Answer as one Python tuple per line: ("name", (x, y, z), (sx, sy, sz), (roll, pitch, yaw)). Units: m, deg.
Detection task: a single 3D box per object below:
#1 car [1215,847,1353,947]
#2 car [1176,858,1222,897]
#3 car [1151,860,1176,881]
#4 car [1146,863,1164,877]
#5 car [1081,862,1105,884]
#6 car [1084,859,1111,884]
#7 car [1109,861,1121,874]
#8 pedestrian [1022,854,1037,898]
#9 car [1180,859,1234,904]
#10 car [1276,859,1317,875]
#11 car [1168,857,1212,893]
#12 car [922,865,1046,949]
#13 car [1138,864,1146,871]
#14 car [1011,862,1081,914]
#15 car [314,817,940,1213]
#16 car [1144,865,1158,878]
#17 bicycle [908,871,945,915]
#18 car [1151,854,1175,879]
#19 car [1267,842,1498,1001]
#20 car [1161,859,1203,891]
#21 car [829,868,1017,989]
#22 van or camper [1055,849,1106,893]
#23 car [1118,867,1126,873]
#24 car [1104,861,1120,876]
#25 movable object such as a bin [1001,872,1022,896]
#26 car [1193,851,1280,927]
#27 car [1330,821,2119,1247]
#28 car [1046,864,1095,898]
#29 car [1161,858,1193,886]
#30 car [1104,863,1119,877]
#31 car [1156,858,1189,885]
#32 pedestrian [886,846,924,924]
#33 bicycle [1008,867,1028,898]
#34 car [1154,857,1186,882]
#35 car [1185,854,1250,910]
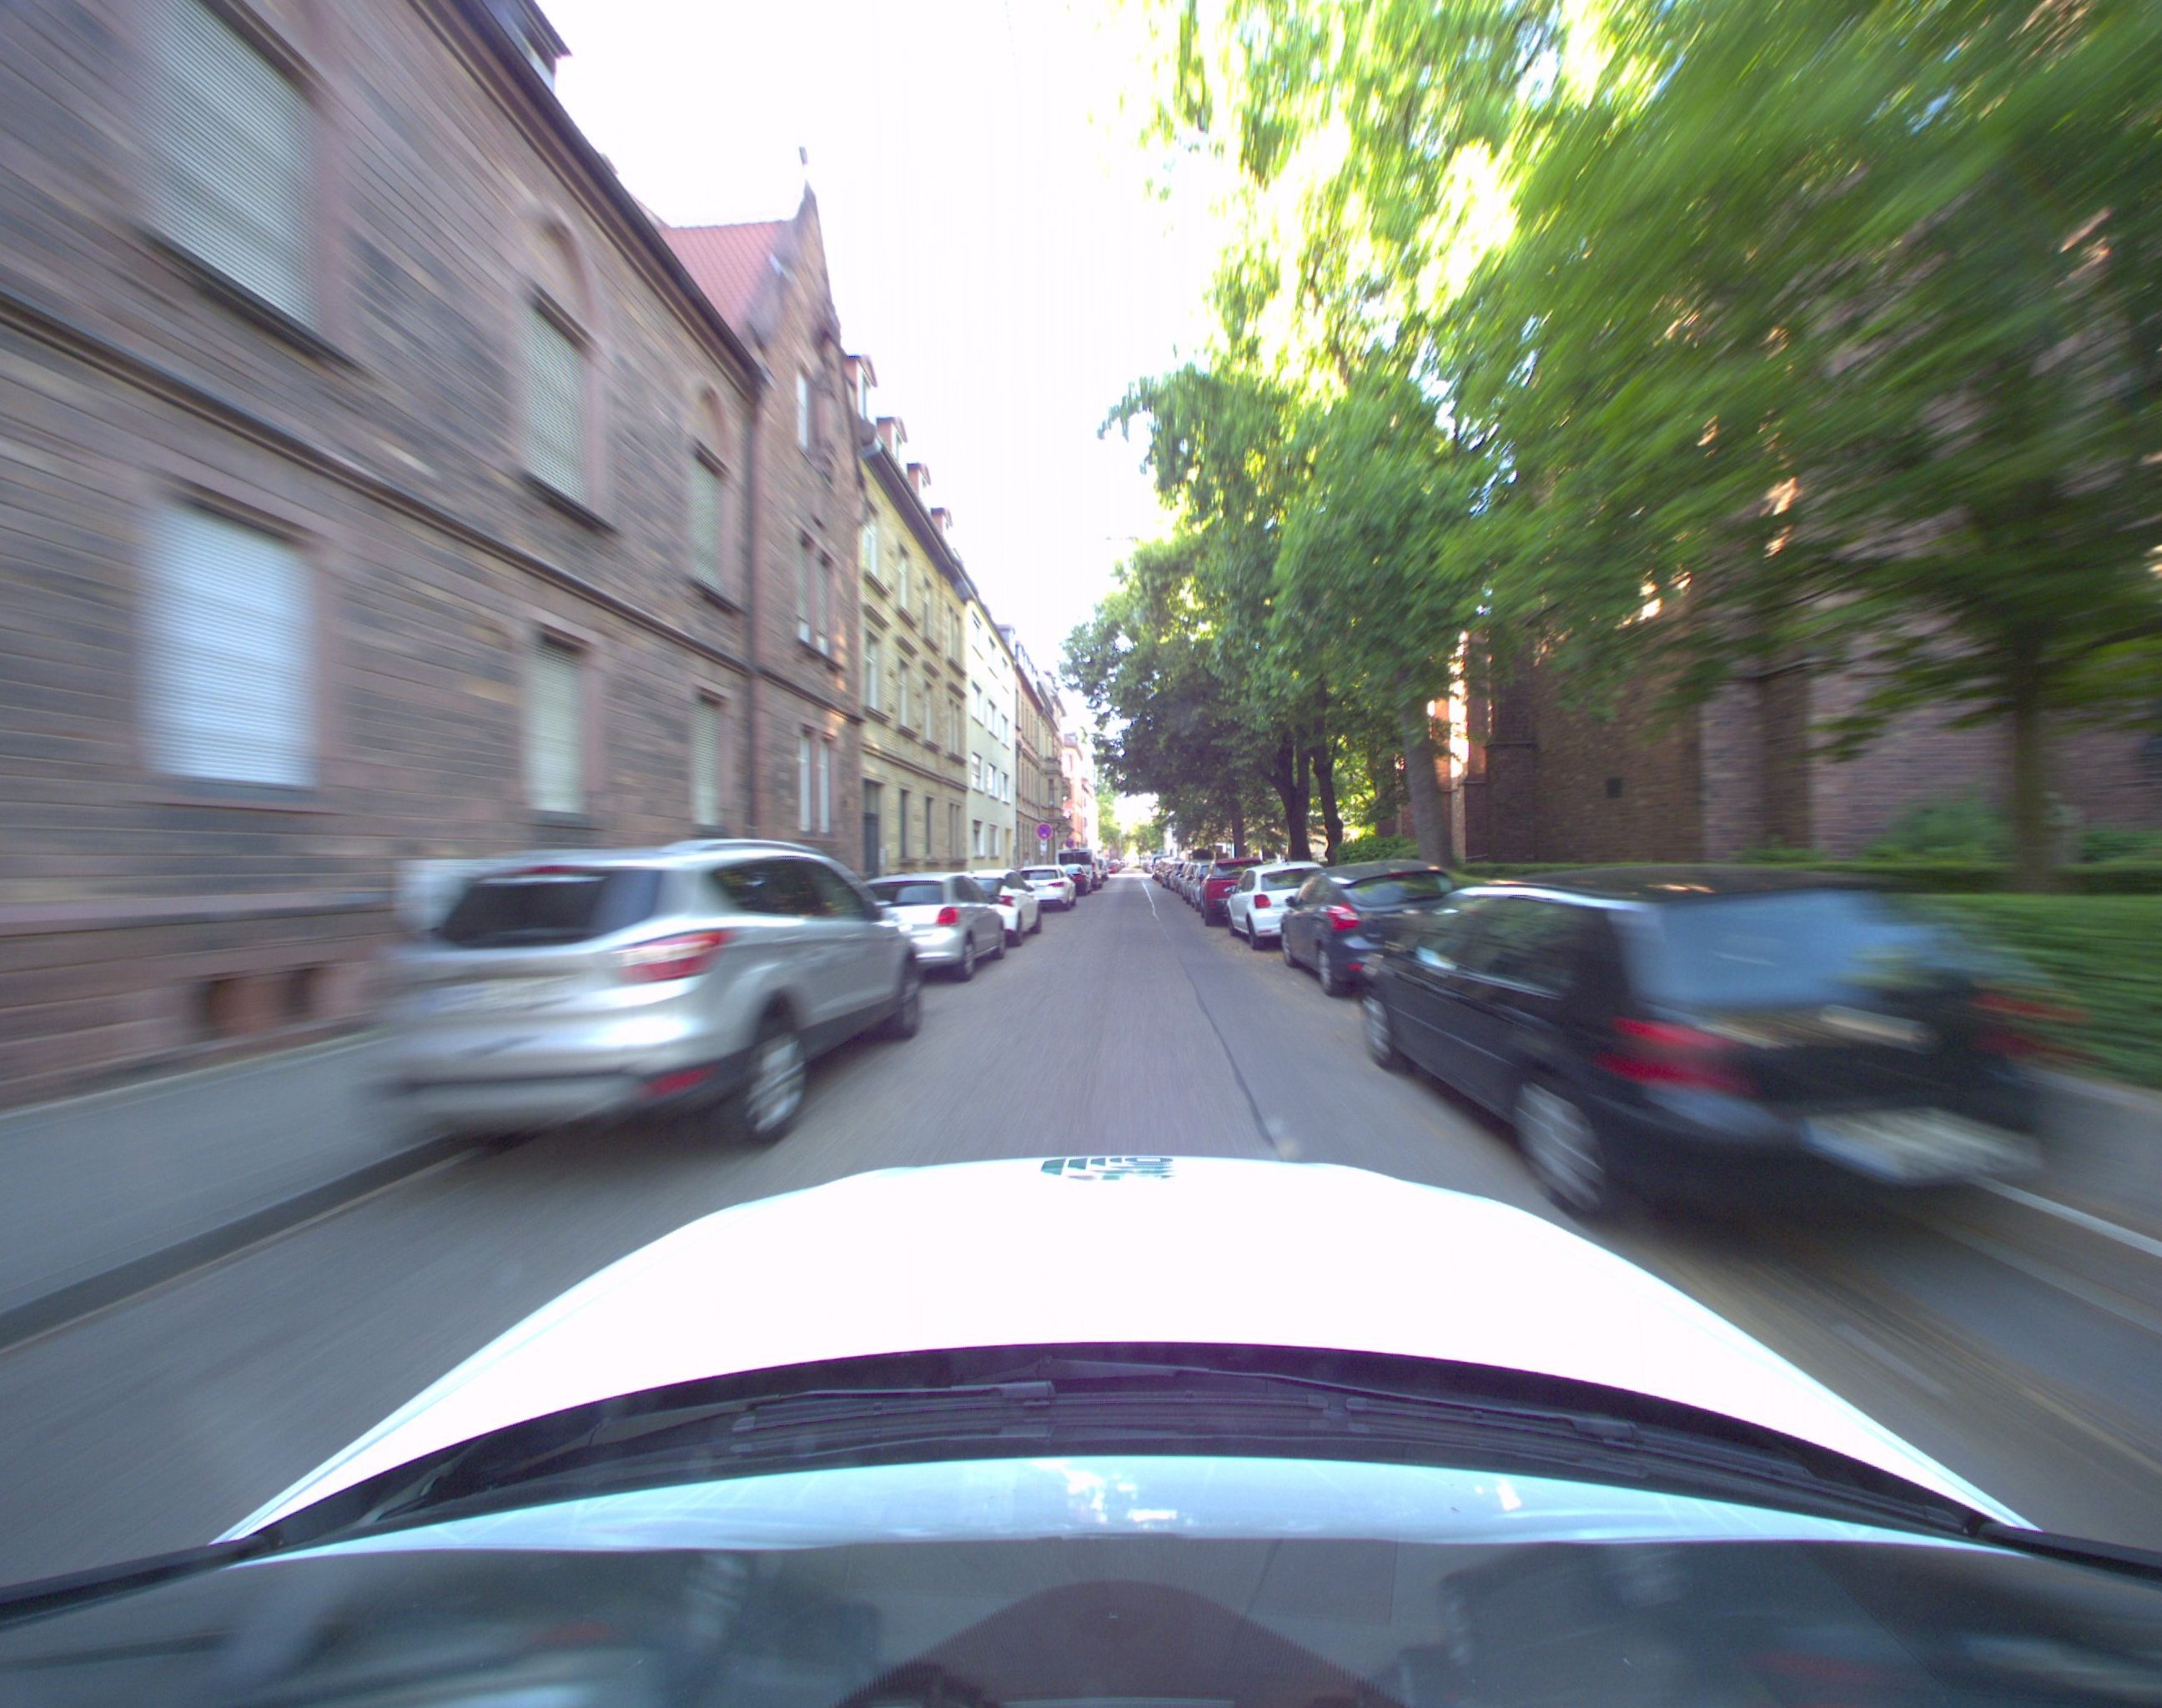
("car", (3.746, 0.778, 15.712), (1.658, 1.520, 3.953), (-6, -2, 2))
("car", (5.046, 1.003, 35.100), (1.592, 1.468, 3.567), (-6, -2, 4))
("car", (6.629, 1.316, 65.615), (1.712, 1.571, 3.830), (-1, -1, 2))
("car", (8.423, 1.861, 93.242), (1.738, 1.507, 4.358), (-3, -1, 1))
("car", (0.888, 1.396, 59.803), (1.687, 1.514, 3.973), (-3, -1, 1))
("car", (1.329, 1.366, 64.603), (1.823, 1.812, 4.576), (-3, -1, 3))
("car", (5.342, 2.125, 128.035), (1.758, 1.785, 4.042), (-3, -1, 3))
("pedestrian", (-2.211, 0.932, 34.767), (0.486, 1.803, 1.115), (1, -1, 2))
("car", (4.579, 0.988, 30.012), (1.592, 1.470, 3.873), (-4, -2, 4))
("car", (21.968, 1.332, 83.102), (3.831, 1.473, 1.637), (-1, -3, 10))
("car", (5.192, 1.003, 39.022), (1.593, 1.505, 3.629), (-6, -2, 1))
("car", (-1.823, 0.992, 16.500), (1.701, 1.417, 3.807), (-3, -2, 4))
("car", (13.669, 3.104, 183.397), (1.669, 1.487, 3.640), (-3, -1, 3))
("car", (-1.056, 1.060, 26.627), (1.723, 1.456, 4.525), (-3, -1, 4))
("car", (-2.418, 0.775, 5.753), (1.701, 1.674, 4.283), (-3, -2, 5))
("car", (9.331, 2.299, 108.214), (1.669, 1.507, 3.940), (-3, -1, 3))
("bicycle", (-4.302, 1.060, 22.830), (0.568, 1.148, 1.846), (2, -1, 3))
("car", (7.124, 1.114, 70.804), (1.905, 1.998, 4.799), (-3, -1, 6))
("car", (3.628, 0.765, 10.622), (1.656, 1.520, 4.065), (-6, -2, 4))
("car", (5.362, 1.129, 43.571), (1.669, 1.441, 4.696), (-6, -2, 1))
("car", (-2.146, 0.984, 12.130), (1.701, 1.417, 3.807), (-3, -2, 4))
("van or camper", (0.063, 0.897, 43.779), (2.166, 2.148, 5.161), (-3, -1, 5))
("car", (9.409, 3.669, 187.270), (1.669, 1.487, 4.097), (-3, -1, 3))
("car", (4.194, 1.940, 108.889), (1.735, 1.811, 4.679), (-3, -1, 5))
("movable object such as a bin", (-3.256, 1.381, 37.989), (0.832, 1.088, 0.676), (-1, -2, 6))
("car", (3.828, 0.842, 20.605), (1.656, 1.586, 4.106), (-6, -2, 5))
("car", (2.871, 0.690, 4.885), (1.615, 1.436, 4.005), (-3, -2, 2))
("car", (-0.419, 1.187, 37.377), (1.722, 1.402, 4.321), (-3, -1, 5))
("car", (5.887, 1.133, 50.093), (1.612, 1.486, 3.779), (-6, -2, 3))
("car", (3.492, 1.864, 93.778), (1.621, 1.481, 3.603), (-3, -1, 3))
("car", (6.093, 1.212, 54.722), (1.614, 1.624, 3.862), (-6, -2, -1))
("pedestrian", (-4.428, 0.766, 20.502), (0.763, 1.928, 0.763), (-1, -1, 0))
("bicycle", (-2.690, 1.202, 34.863), (0.568, 1.244, 1.846), (2, -1, 3))
("car", (6.566, 1.193, 60.520), (1.734, 1.603, 4.262), (-6, -2, -1))
("car", (4.266, 0.865, 25.909), (1.592, 1.505, 3.724), (-6, -2, 4))
